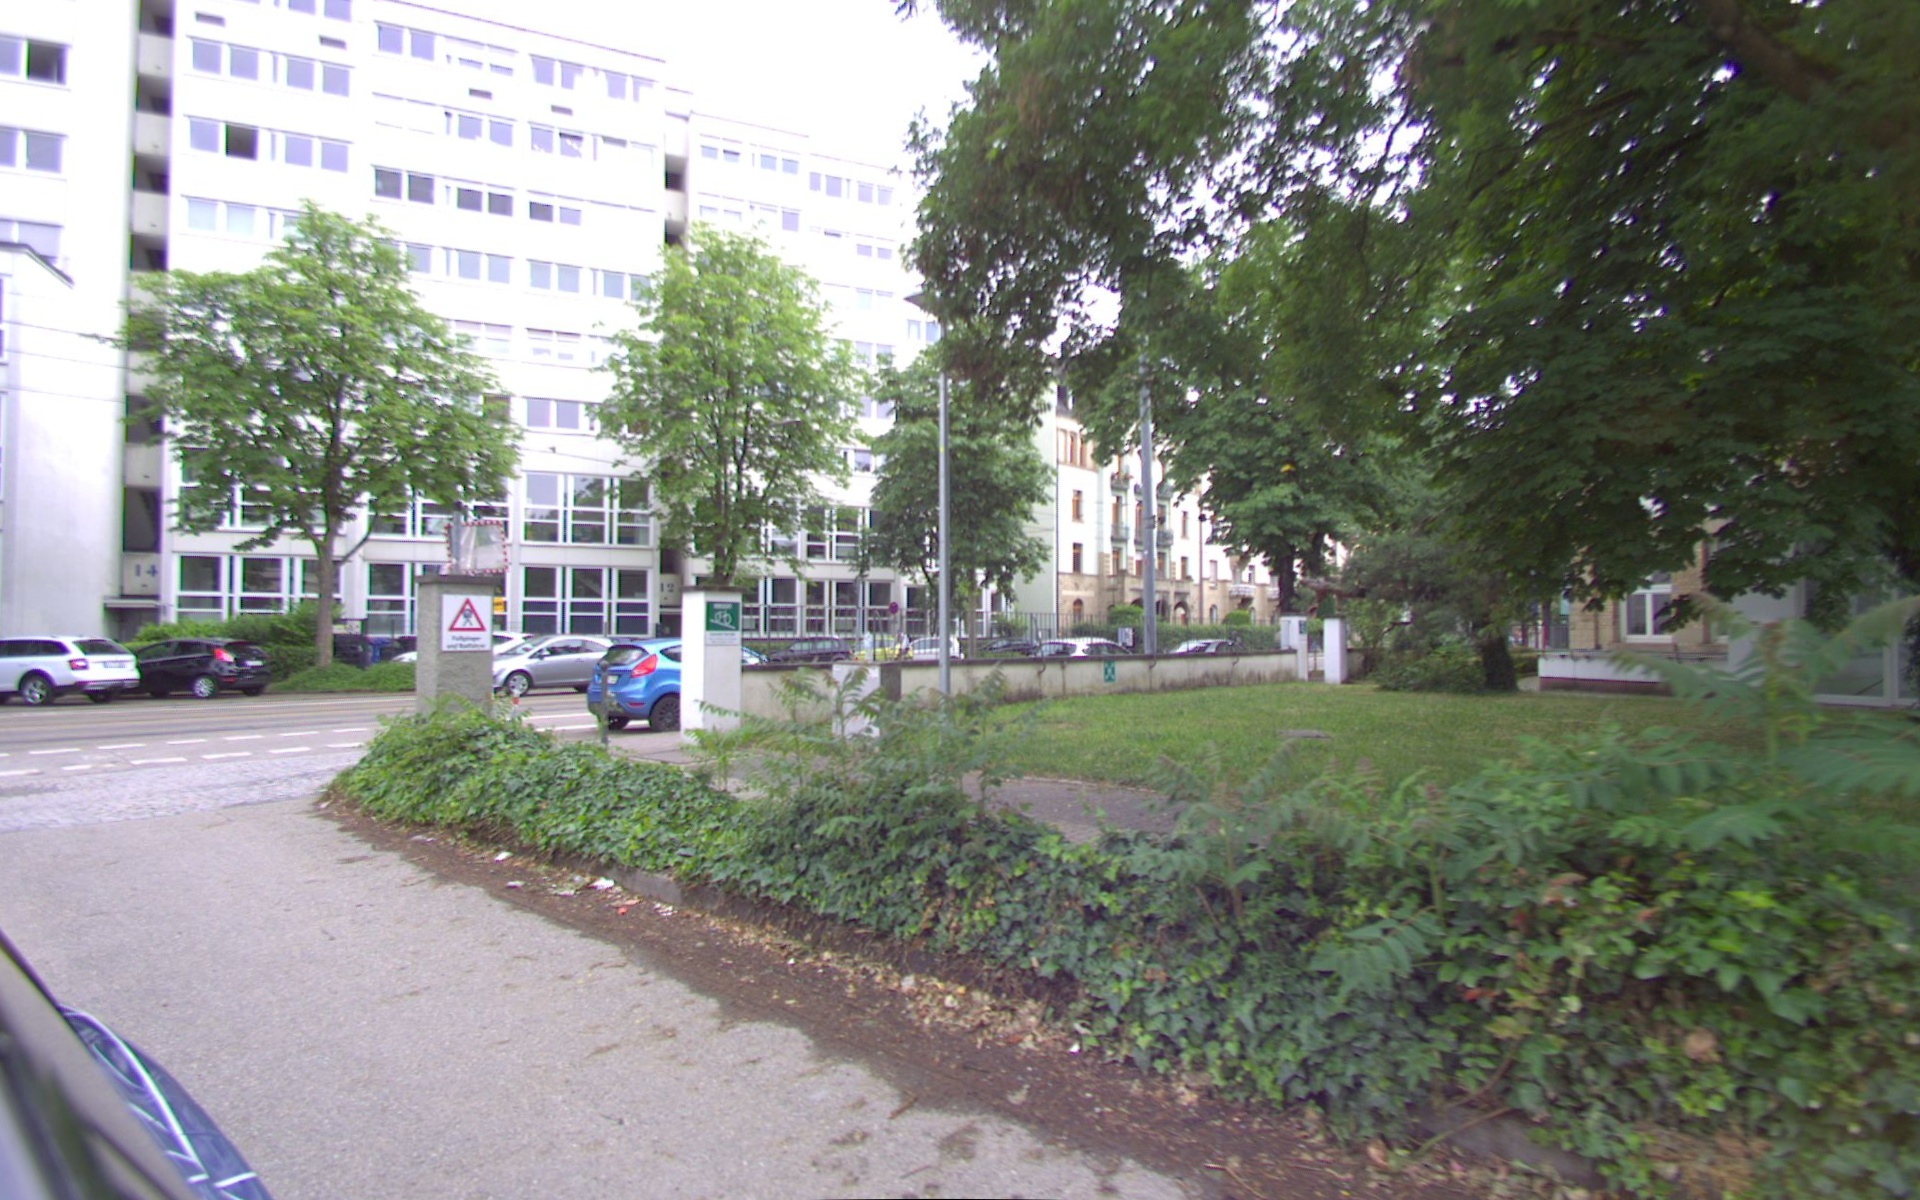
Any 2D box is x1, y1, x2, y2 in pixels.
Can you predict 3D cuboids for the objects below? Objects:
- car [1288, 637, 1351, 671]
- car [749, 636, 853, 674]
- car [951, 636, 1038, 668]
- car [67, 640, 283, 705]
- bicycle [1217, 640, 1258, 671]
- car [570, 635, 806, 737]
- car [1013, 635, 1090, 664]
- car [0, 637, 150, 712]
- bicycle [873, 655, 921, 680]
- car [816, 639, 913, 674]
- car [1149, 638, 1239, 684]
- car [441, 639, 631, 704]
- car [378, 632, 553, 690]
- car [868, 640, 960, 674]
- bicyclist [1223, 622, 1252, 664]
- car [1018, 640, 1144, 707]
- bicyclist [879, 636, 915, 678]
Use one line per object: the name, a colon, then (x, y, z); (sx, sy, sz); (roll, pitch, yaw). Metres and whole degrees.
car: (14.630, 2.181, 41.142); (1.511, 1.312, 3.138); (-2, -2, 37)
car: (-6.150, 2.145, 39.512); (3.908, 1.362, 1.702); (1, -1, -4)
car: (1.610, 2.441, 47.754); (3.908, 1.362, 1.702); (1, -1, -4)
car: (-18.870, 1.712, 24.438); (3.975, 1.416, 1.698); (1, -1, 3)
bicycle: (10.529, 2.090, 38.393); (0.667, 1.125, 1.839); (0, -2, 45)
car: (-4.357, 1.335, 16.509); (1.678, 1.472, 3.387); (-4, -4, 40)
car: (4.741, 2.525, 52.187); (3.687, 1.396, 1.690); (1, -1, 17)
car: (-20.363, 1.586, 22.161); (3.975, 1.495, 1.698); (1, -1, 3)
bicycle: (-2.325, 2.491, 37.566); (0.470, 0.875, 2.109); (-3, -3, 41)
car: (-3.960, 2.327, 41.982); (3.908, 1.362, 1.702); (1, -1, -4)
car: (7.226, 1.842, 31.112); (1.511, 1.312, 3.138); (-2, -2, 37)
car: (-10.244, 1.684, 24.704); (1.744, 1.440, 3.948); (-2, -3, 38)
car: (-14.369, 1.762, 29.604); (4.277, 1.568, 1.703); (1, -1, -8)
car: (-2.025, 2.474, 44.153); (3.908, 1.362, 1.702); (1, -1, -4)
bicyclist: (10.533, 1.636, 38.422); (0.664, 1.581, 0.971); (-1, -2, 44)
car: (3.122, 1.801, 25.619); (1.479, 1.492, 3.518); (0, -1, 40)
bicyclist: (-2.326, 2.107, 37.480); (0.846, 1.512, 1.013); (-3, -3, 41)
